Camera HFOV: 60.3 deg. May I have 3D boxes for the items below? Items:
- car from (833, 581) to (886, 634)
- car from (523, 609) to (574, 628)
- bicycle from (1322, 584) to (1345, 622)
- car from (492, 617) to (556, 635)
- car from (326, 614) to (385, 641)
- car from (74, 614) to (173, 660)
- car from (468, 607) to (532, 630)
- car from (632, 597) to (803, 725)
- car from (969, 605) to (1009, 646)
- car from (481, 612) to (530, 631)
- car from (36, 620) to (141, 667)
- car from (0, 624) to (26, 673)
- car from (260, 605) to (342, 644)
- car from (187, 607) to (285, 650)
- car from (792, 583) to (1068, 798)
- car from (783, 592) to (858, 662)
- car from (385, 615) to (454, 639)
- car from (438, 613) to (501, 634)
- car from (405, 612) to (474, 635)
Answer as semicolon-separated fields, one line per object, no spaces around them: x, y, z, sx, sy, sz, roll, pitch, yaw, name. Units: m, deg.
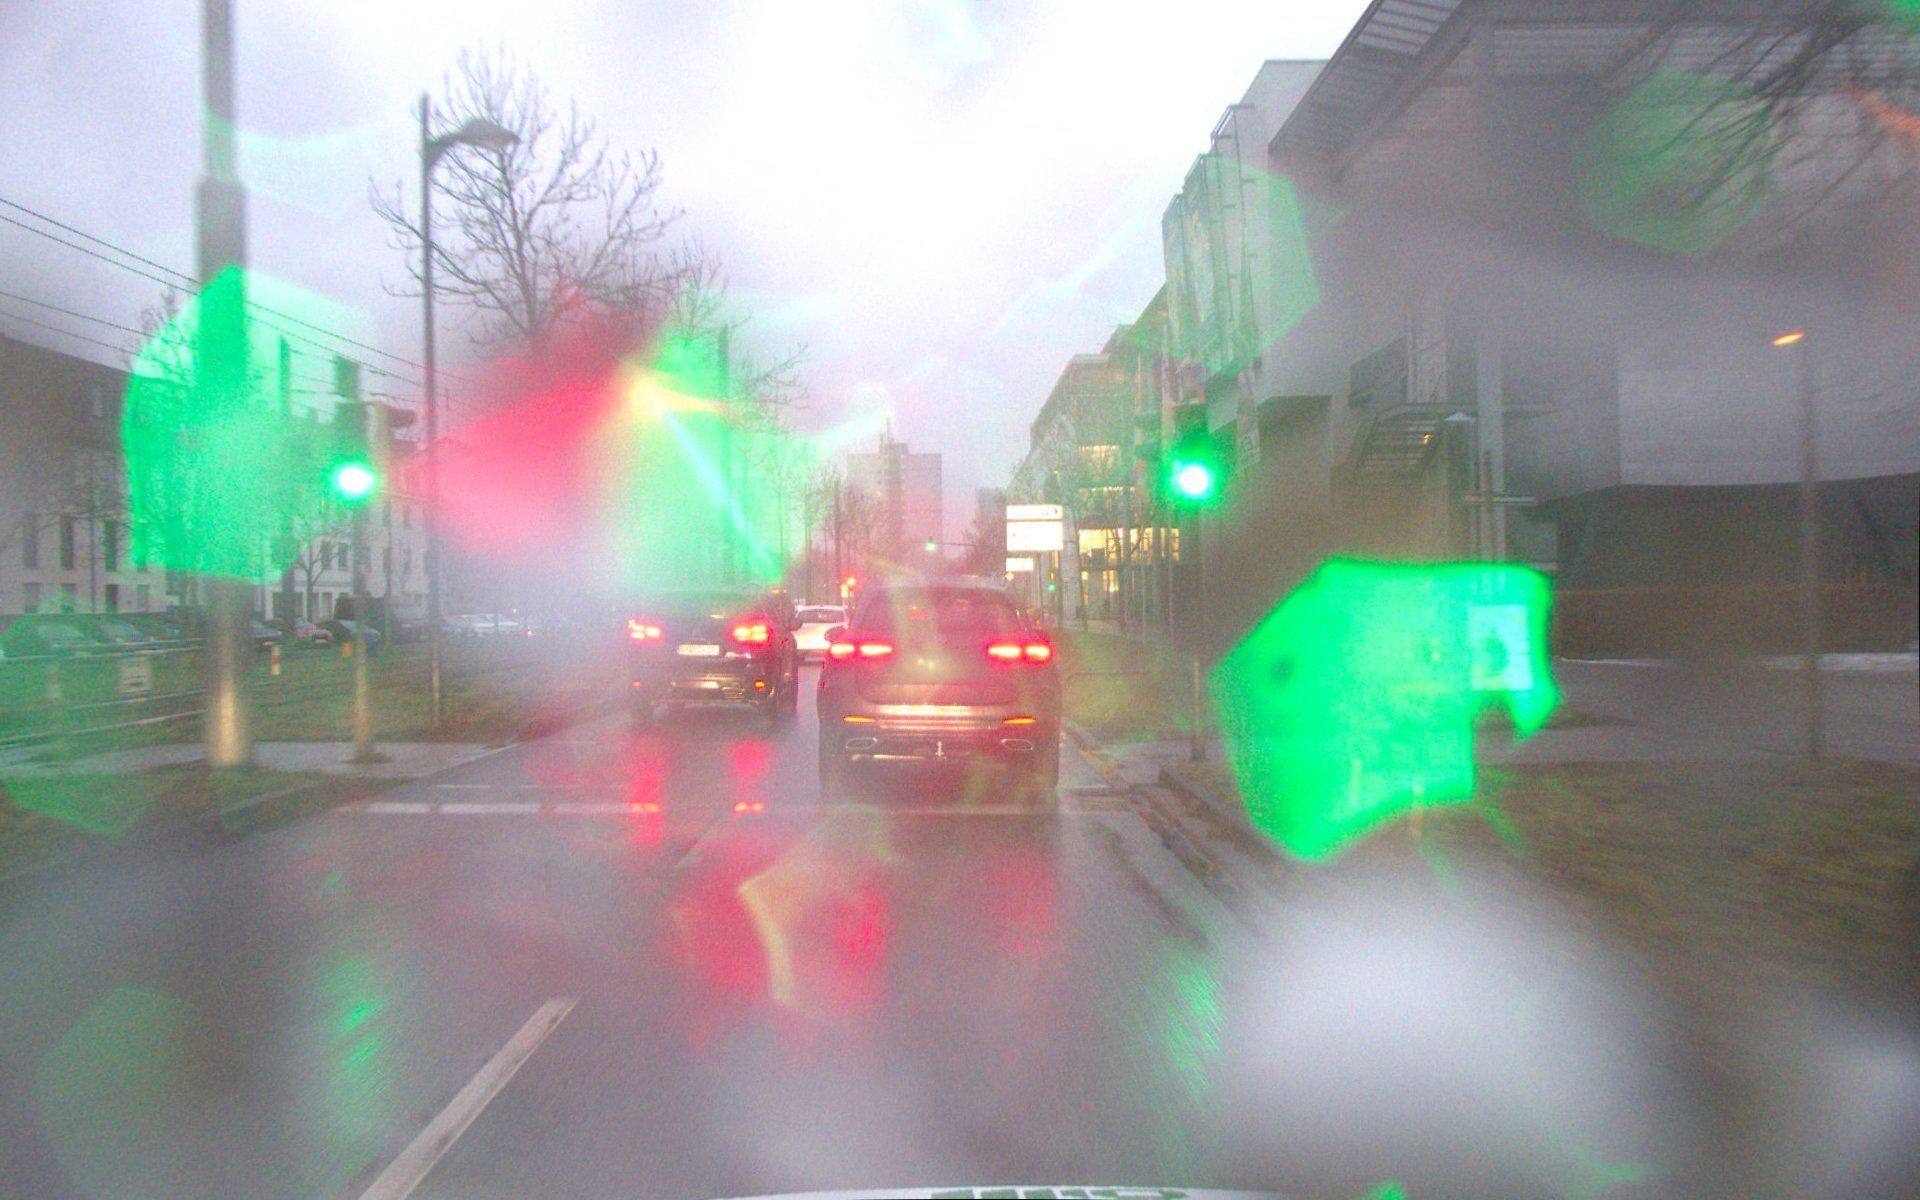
-3.498;0.266;58.167;1.628;1.790;3.567;1;-1;0;car
-29.372;1.305;118.050;3.691;1.360;1.448;0;0;35;car
13.120;0.111;58.021;0.402;1.307;1.743;1;0;26;bicycle
-29.148;1.743;110.556;4.098;1.135;1.678;1;0;30;car
-28.653;1.283;78.388;2.835;1.225;1.381;1;0;40;car
-27.984;1.211;55.312;3.320;1.446;1.663;1;0;38;car
-29.044;1.163;104.461;4.041;1.402;1.766;1;0;36;car
-3.011;0.711;21.277;1.781;1.476;3.997;1;0;-3;car
1.310;1.120;74.113;1.605;1.758;4.002;1;0;3;car
-29.393;1.393;106.991;2.978;1.167;1.394;1;0;30;car
-27.706;1.357;52.566;2.874;1.359;1.733;1;0;31;car
-27.544;1.292;45.554;3.765;1.267;1.732;1;0;35;car
-28.481;1.036;71.496;3.778;1.616;1.733;1;0;40;car
-28.499;1.095;65.067;4.078;1.568;1.664;1;0;35;car
-0.254;0.662;13.714;1.953;1.509;3.699;1;0;-1;car
-3.481;0.653;41.855;1.655;1.664;3.472;1;0;-1;car
-29.617;1.442;90.572;3.463;1.233;1.744;1;0;30;car
-28.849;1.363;97.286;3.344;1.167;1.688;1;0;30;car
-29.455;1.313;93.595;3.463;1.221;1.878;1;0;30;car
